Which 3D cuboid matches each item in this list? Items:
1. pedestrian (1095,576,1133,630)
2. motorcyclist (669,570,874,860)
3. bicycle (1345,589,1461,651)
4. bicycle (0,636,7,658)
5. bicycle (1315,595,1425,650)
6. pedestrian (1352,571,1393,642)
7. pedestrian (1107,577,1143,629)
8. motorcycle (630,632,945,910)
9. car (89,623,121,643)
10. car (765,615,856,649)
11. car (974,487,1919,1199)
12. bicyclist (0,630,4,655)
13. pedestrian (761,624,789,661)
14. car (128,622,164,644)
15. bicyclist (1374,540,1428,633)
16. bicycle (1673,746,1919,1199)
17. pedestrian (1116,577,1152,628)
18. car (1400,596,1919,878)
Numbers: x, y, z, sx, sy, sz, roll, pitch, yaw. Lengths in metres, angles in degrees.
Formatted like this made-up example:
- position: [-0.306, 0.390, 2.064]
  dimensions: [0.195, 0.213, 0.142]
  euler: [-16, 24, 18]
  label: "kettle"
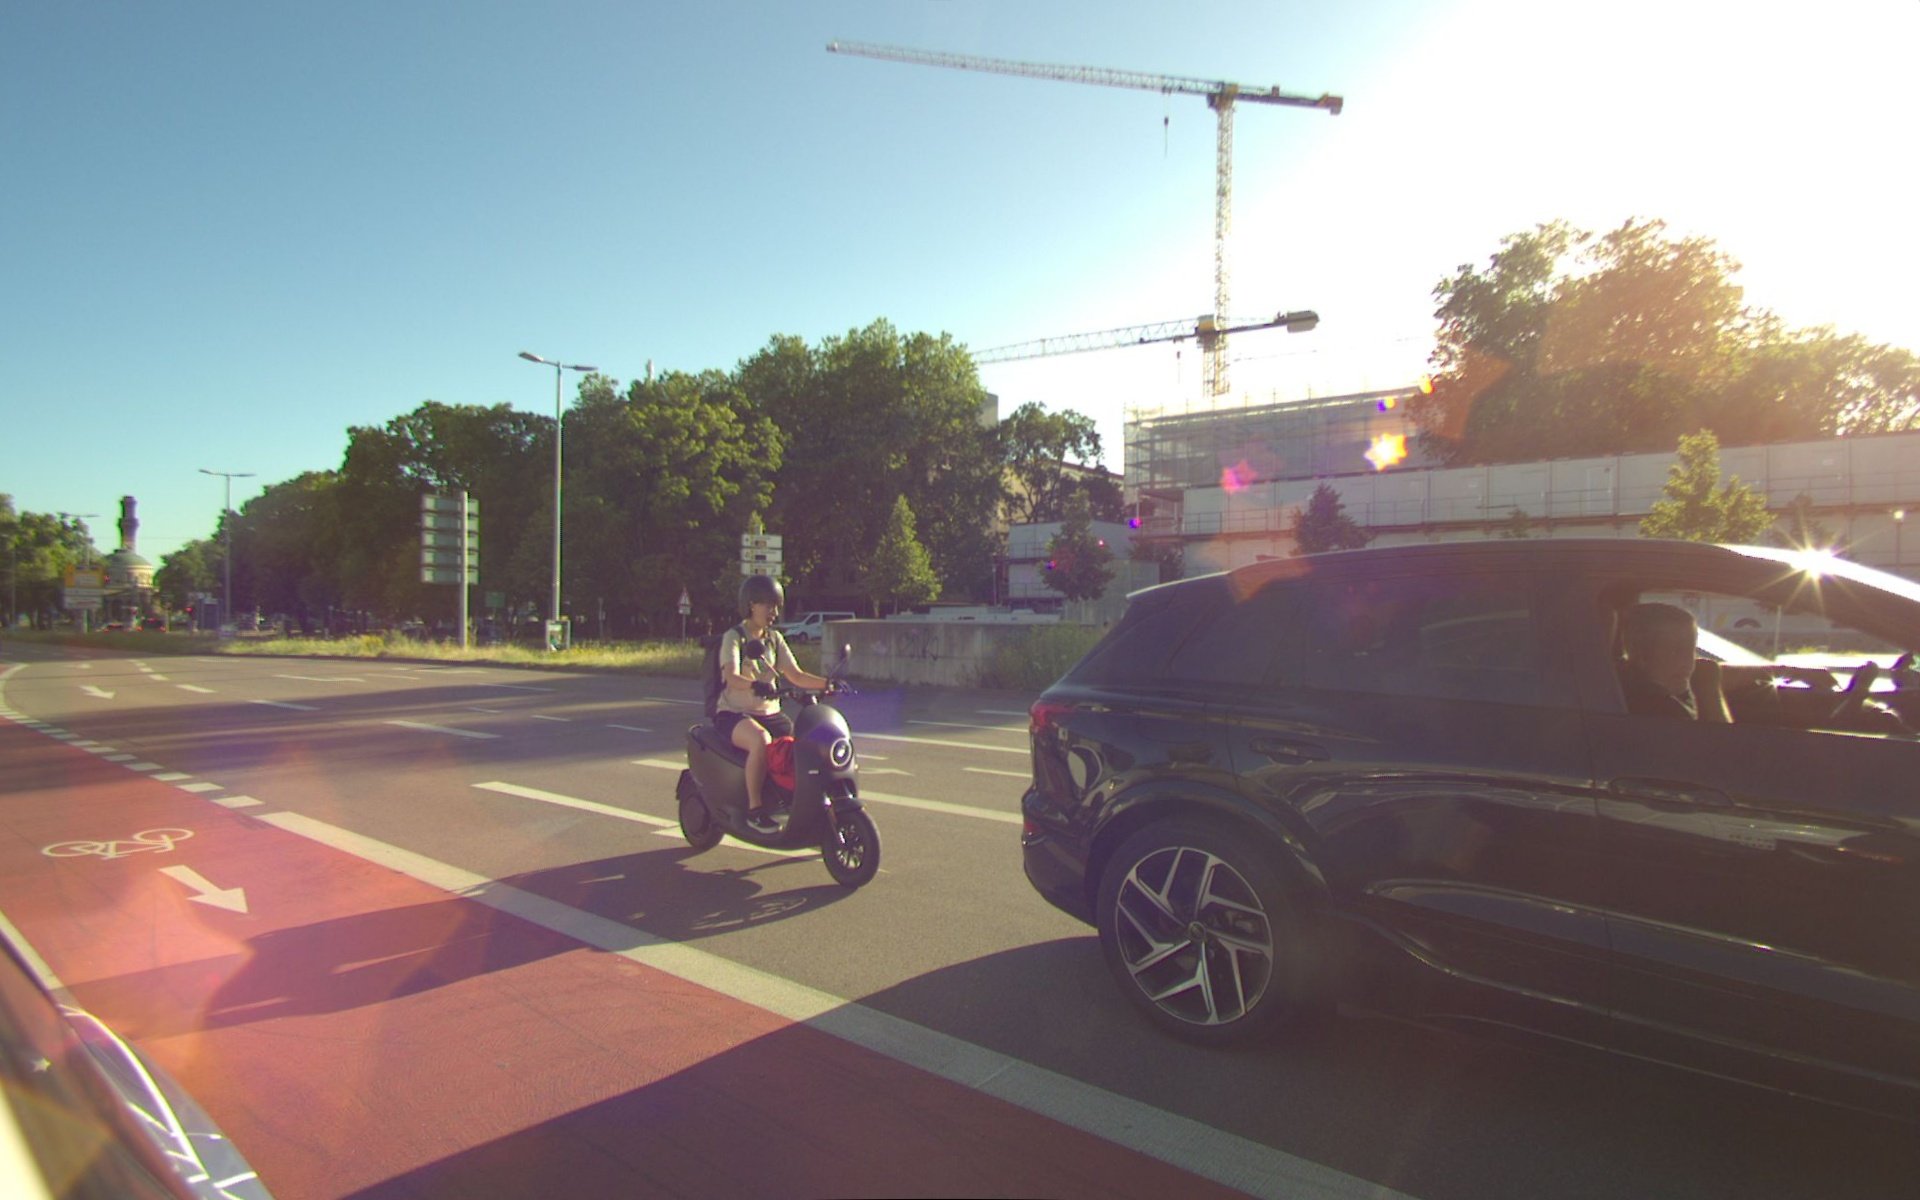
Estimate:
- position: [5.989, 0.113, 39.303]
  dimensions: [1.135, 2.029, 0.930]
  euler: [-1, 0, 35]
  label: "pedestrian"
- position: [-1.078, 0.598, 5.773]
  dimensions: [0.917, 1.485, 0.717]
  euler: [-2, -1, 41]
  label: "motorcyclist"
- position: [13.478, 0.633, 30.882]
  dimensions: [3.079, 1.824, 0.831]
  euler: [-3, -1, 40]
  label: "bicycle"
- position: [-51.950, 2.528, 54.337]
  dimensions: [2.806, 1.124, 0.843]
  euler: [-2, -1, 41]
  label: "bicycle"
- position: [14.112, 0.762, 34.924]
  dimensions: [3.355, 1.824, 1.066]
  euler: [-1, 0, 40]
  label: "bicycle"
- position: [14.197, 0.210, 34.831]
  dimensions: [1.018, 2.393, 1.008]
  euler: [-1, 0, 39]
  label: "pedestrian"
- position: [6.538, 0.106, 40.098]
  dimensions: [1.135, 2.029, 0.930]
  euler: [-1, 0, 35]
  label: "pedestrian"
- position: [-1.031, 0.844, 5.732]
  dimensions: [1.883, 1.303, 0.715]
  euler: [-2, -1, 41]
  label: "motorcycle"
- position: [-79.866, 3.041, 94.536]
  dimensions: [3.945, 1.802, 1.725]
  euler: [-1, 0, 41]
  label: "car"
- position: [-9.058, 1.927, 61.847]
  dimensions: [2.065, 1.950, 5.443]
  euler: [-1, -2, 42]
  label: "car"
- position: [2.417, 0.578, 3.029]
  dimensions: [4.677, 1.647, 1.753]
  euler: [-1, 0, 40]
  label: "car"
- position: [-52.037, 2.284, 54.431]
  dimensions: [0.829, 1.358, 0.843]
  euler: [-2, -1, 41]
  label: "bicyclist"
- position: [-9.431, 2.151, 51.538]
  dimensions: [1.018, 1.845, 0.977]
  euler: [-1, 0, 37]
  label: "pedestrian"
- position: [-71.046, 2.852, 88.272]
  dimensions: [3.998, 1.841, 1.796]
  euler: [-1, 0, 41]
  label: "car"
- position: [13.465, -0.396, 30.887]
  dimensions: [1.305, 2.749, 0.831]
  euler: [-1, 0, 39]
  label: "bicyclist"
- position: [1.434, 0.774, 0.401]
  dimensions: [1.829, 1.227, 0.610]
  euler: [-2, -1, 39]
  label: "bicycle"
- position: [7.042, 0.099, 40.913]
  dimensions: [1.135, 2.029, 0.930]
  euler: [-1, 0, 35]
  label: "pedestrian"
- position: [4.976, 0.756, 6.548]
  dimensions: [3.603, 1.497, 1.477]
  euler: [-2, -1, 41]
  label: "car"
